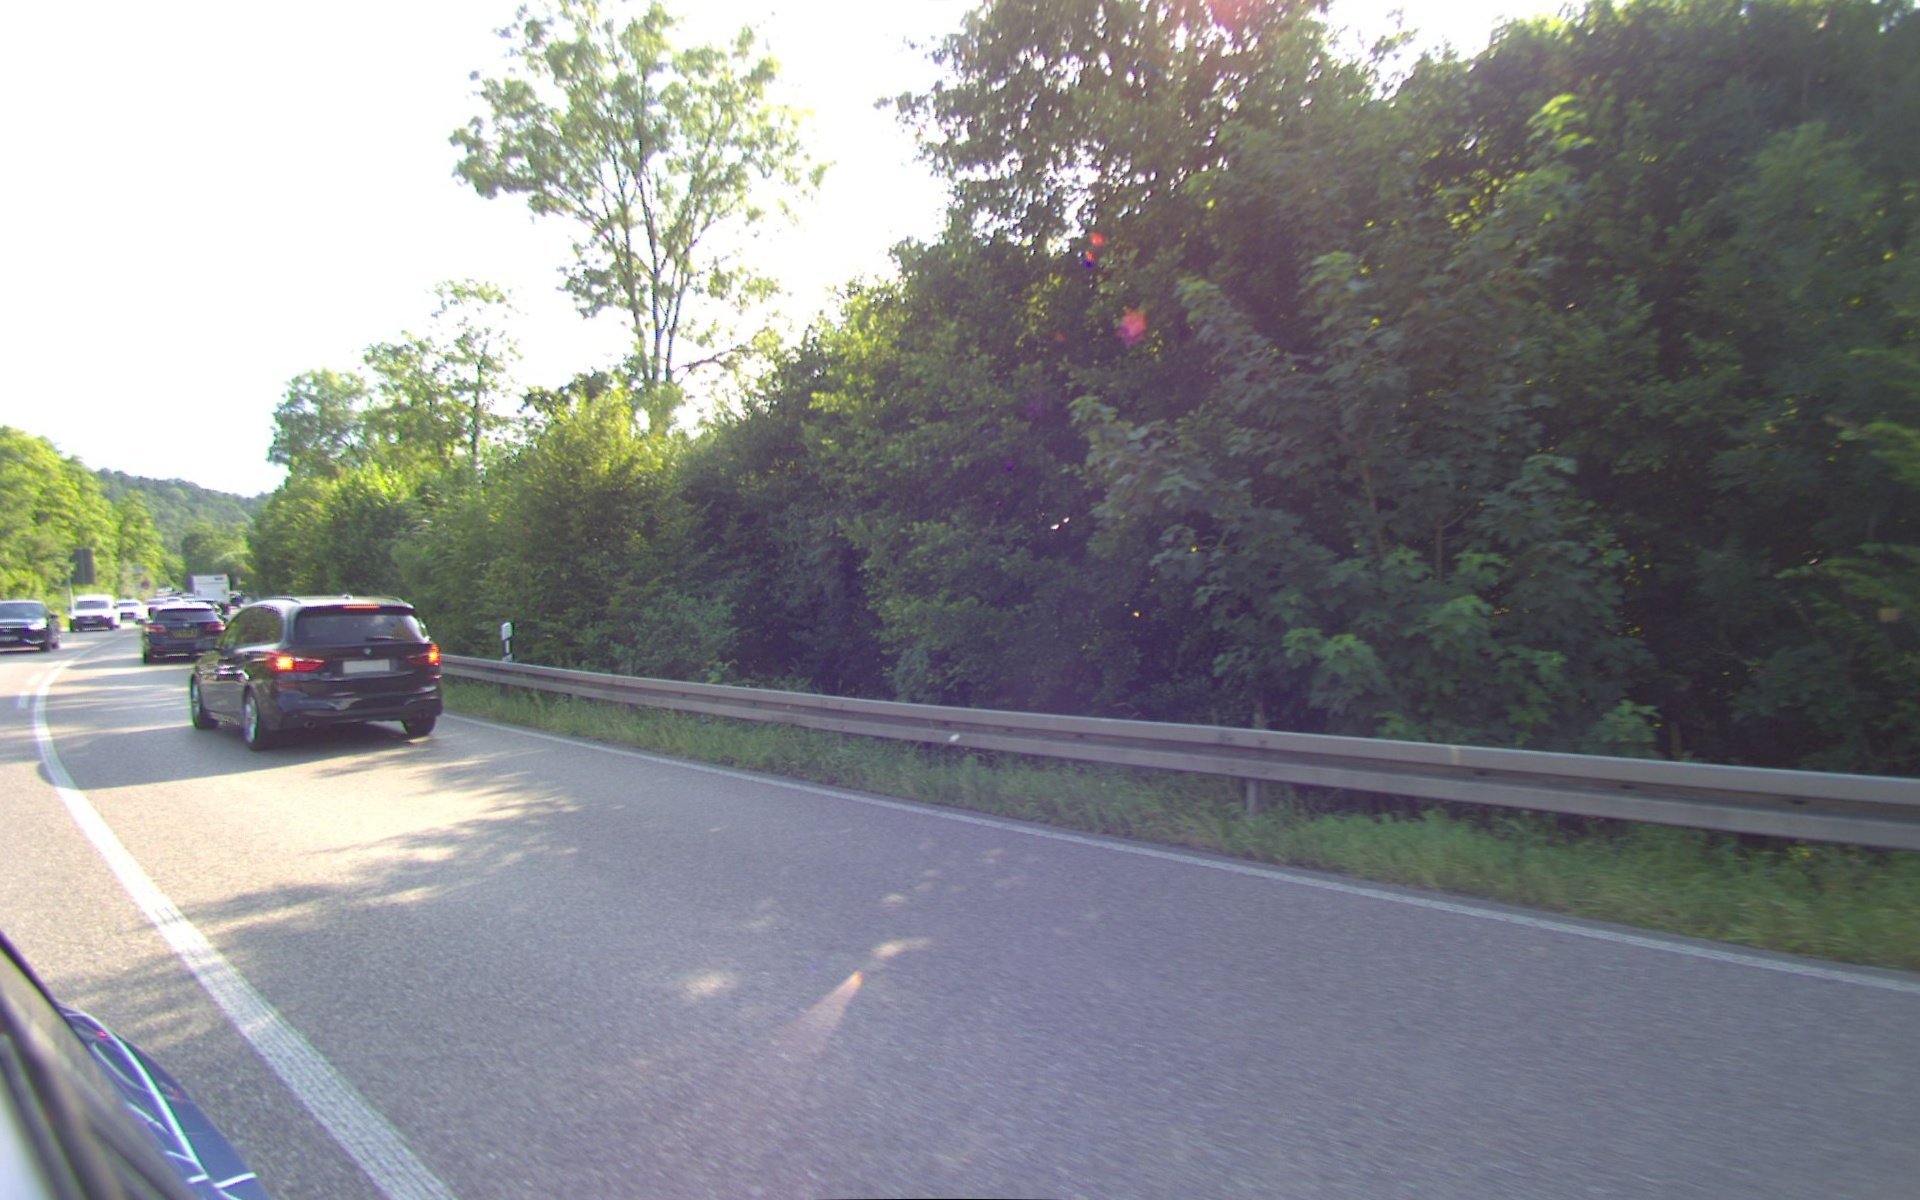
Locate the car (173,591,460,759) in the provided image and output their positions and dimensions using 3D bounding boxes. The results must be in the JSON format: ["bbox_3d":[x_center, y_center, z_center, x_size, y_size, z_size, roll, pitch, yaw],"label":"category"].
[{"bbox_3d":[-7.617,0.746,11.801,4.249,1.601,1.847,-1,-1,43],"label":"car"}]

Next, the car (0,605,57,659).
[{"bbox_3d":[-29.808,0.976,31.803,1.820,1.581,4.266,-1,1,-38],"label":"car"}]

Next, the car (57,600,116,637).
[{"bbox_3d":[-44.985,0.893,52.199,1.839,1.733,4.775,-3,2,-36],"label":"car"}]

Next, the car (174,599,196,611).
[{"bbox_3d":[-91.667,0.589,119.776,1.866,1.456,4.487,-1,1,-35],"label":"car"}]

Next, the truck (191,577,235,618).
[{"bbox_3d":[-58.816,-0.239,79.792,2.423,3.095,6.281,-1,0,-33],"label":"truck"}]

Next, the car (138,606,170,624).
[{"bbox_3d":[-72.784,1.337,91.431,1.830,1.431,4.431,-3,2,-34],"label":"car"}]

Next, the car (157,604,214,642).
[{"bbox_3d":[-32.413,0.922,42.427,1.638,1.456,3.932,-1,0,-34],"label":"car"}]

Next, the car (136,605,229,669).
[{"bbox_3d":[-20.622,0.901,26.800,1.827,1.519,4.412,0,0,-39],"label":"car"}]

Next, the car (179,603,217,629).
[{"bbox_3d":[-45.561,0.929,60.579,1.768,1.456,3.803,-1,1,-36],"label":"car"}]

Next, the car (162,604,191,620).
[{"bbox_3d":[-81.421,1.258,105.170,1.885,1.476,4.550,-3,2,-32],"label":"car"}]

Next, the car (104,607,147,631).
[{"bbox_3d":[-57.708,1.284,70.055,1.867,1.456,4.487,-4,2,-35],"label":"car"}]
